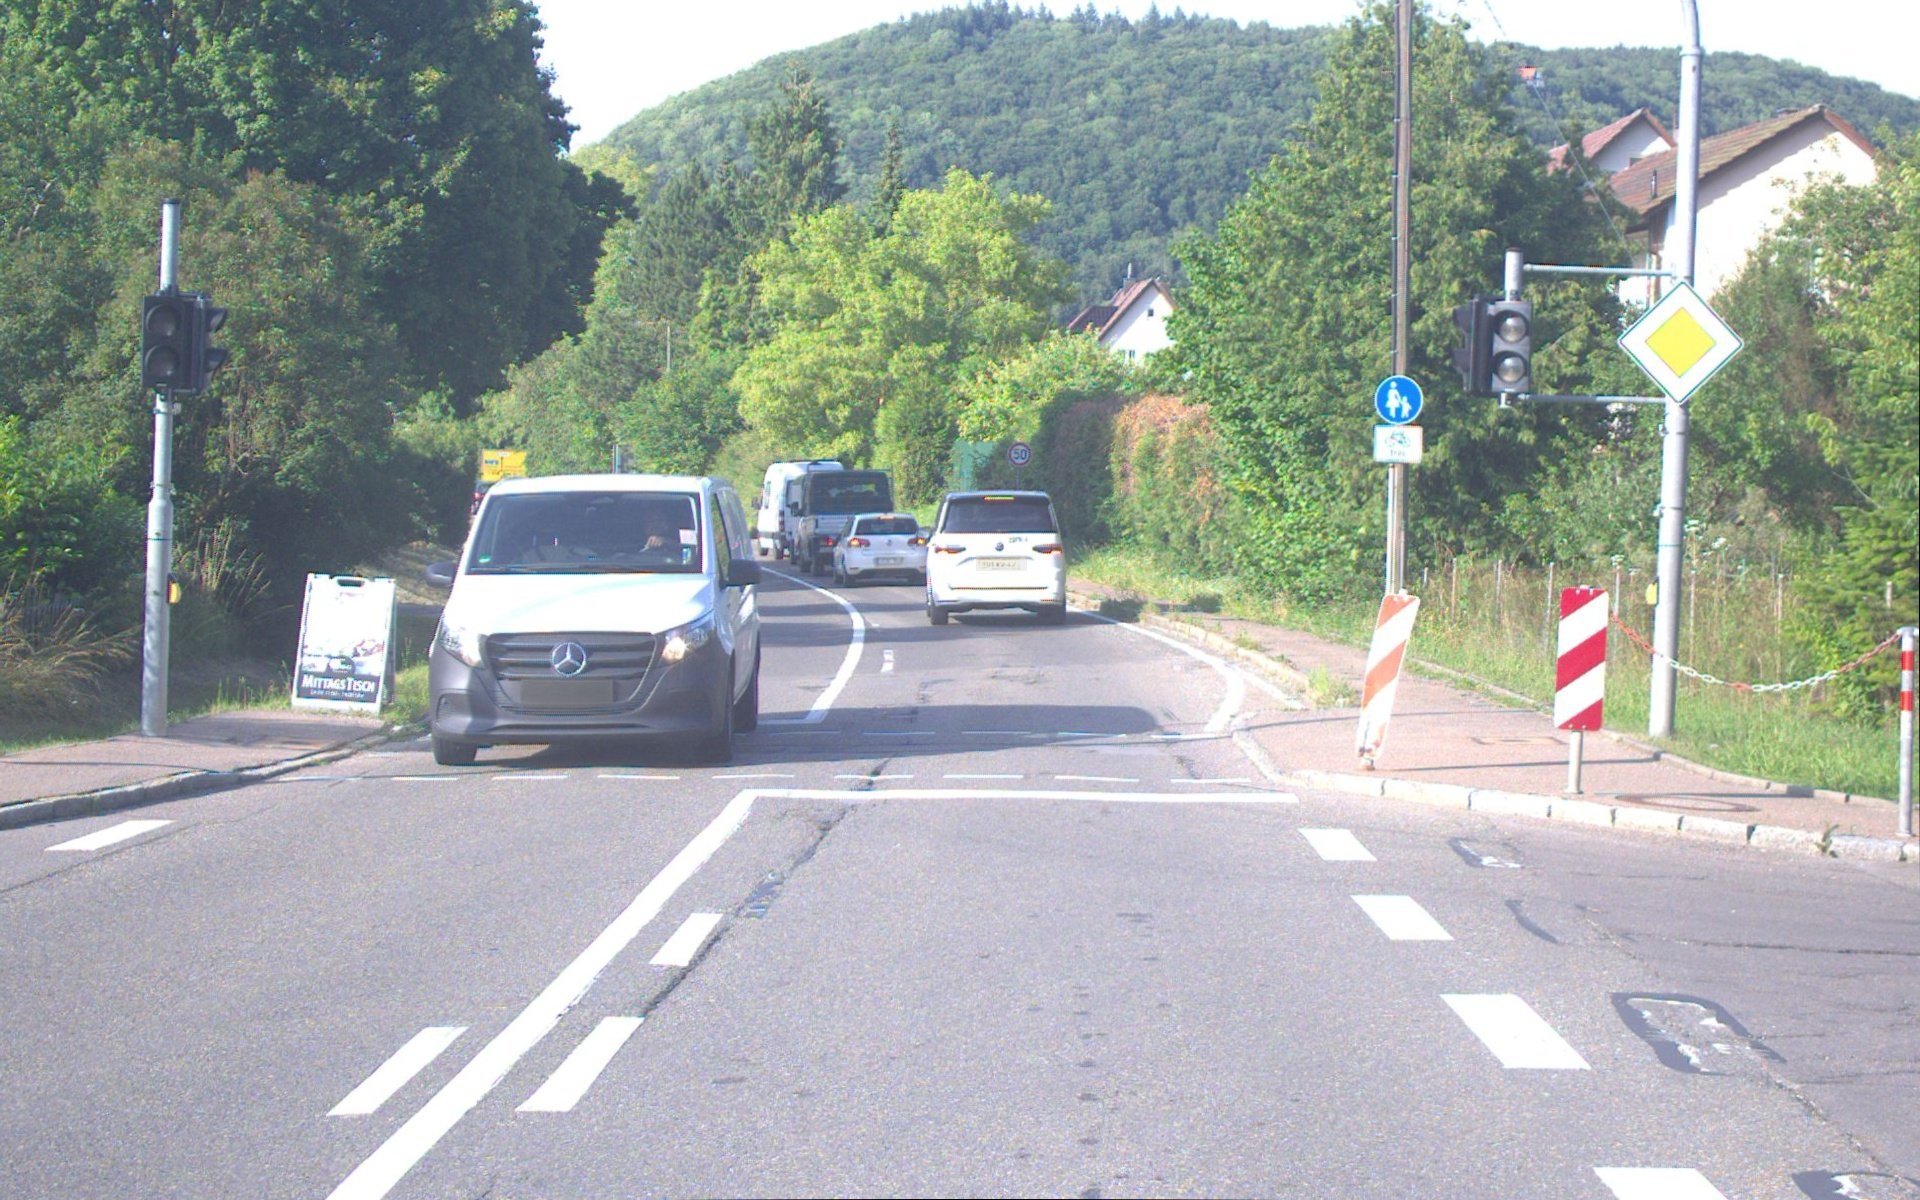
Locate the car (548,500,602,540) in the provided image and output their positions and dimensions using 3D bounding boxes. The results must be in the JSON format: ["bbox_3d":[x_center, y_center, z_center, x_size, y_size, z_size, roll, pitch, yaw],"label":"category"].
[{"bbox_3d":[-16.713,-3.464,149.207,1.941,1.678,4.001,-1,1,-12],"label":"car"}]

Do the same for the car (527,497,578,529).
[{"bbox_3d":[-18.763,-4.023,158.255,1.941,1.419,4.002,0,2,-12],"label":"car"}]

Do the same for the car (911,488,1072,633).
[{"bbox_3d":[0.406,-0.626,49.936,1.993,1.870,4.872,2,2,-3],"label":"car"}]

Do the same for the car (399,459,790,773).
[{"bbox_3d":[-2.363,0.007,23.636,1.993,1.897,5.253,-1,2,1],"label":"car"}]

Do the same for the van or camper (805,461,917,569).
[{"bbox_3d":[-2.296,-1.950,78.215,2.179,2.377,5.371,0,2,-6],"label":"van or camper"}]

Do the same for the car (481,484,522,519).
[{"bbox_3d":[-23.948,-5.155,179.532,1.771,1.776,4.001,-1,2,-12],"label":"car"}]

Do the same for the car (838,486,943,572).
[{"bbox_3d":[-1.441,-1.466,69.560,1.993,1.678,4.001,0,2,-3],"label":"car"}]

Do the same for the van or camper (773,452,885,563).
[{"bbox_3d":[-3.593,-2.508,92.855,2.414,2.894,6.133,0,2,-8],"label":"van or camper"}]
